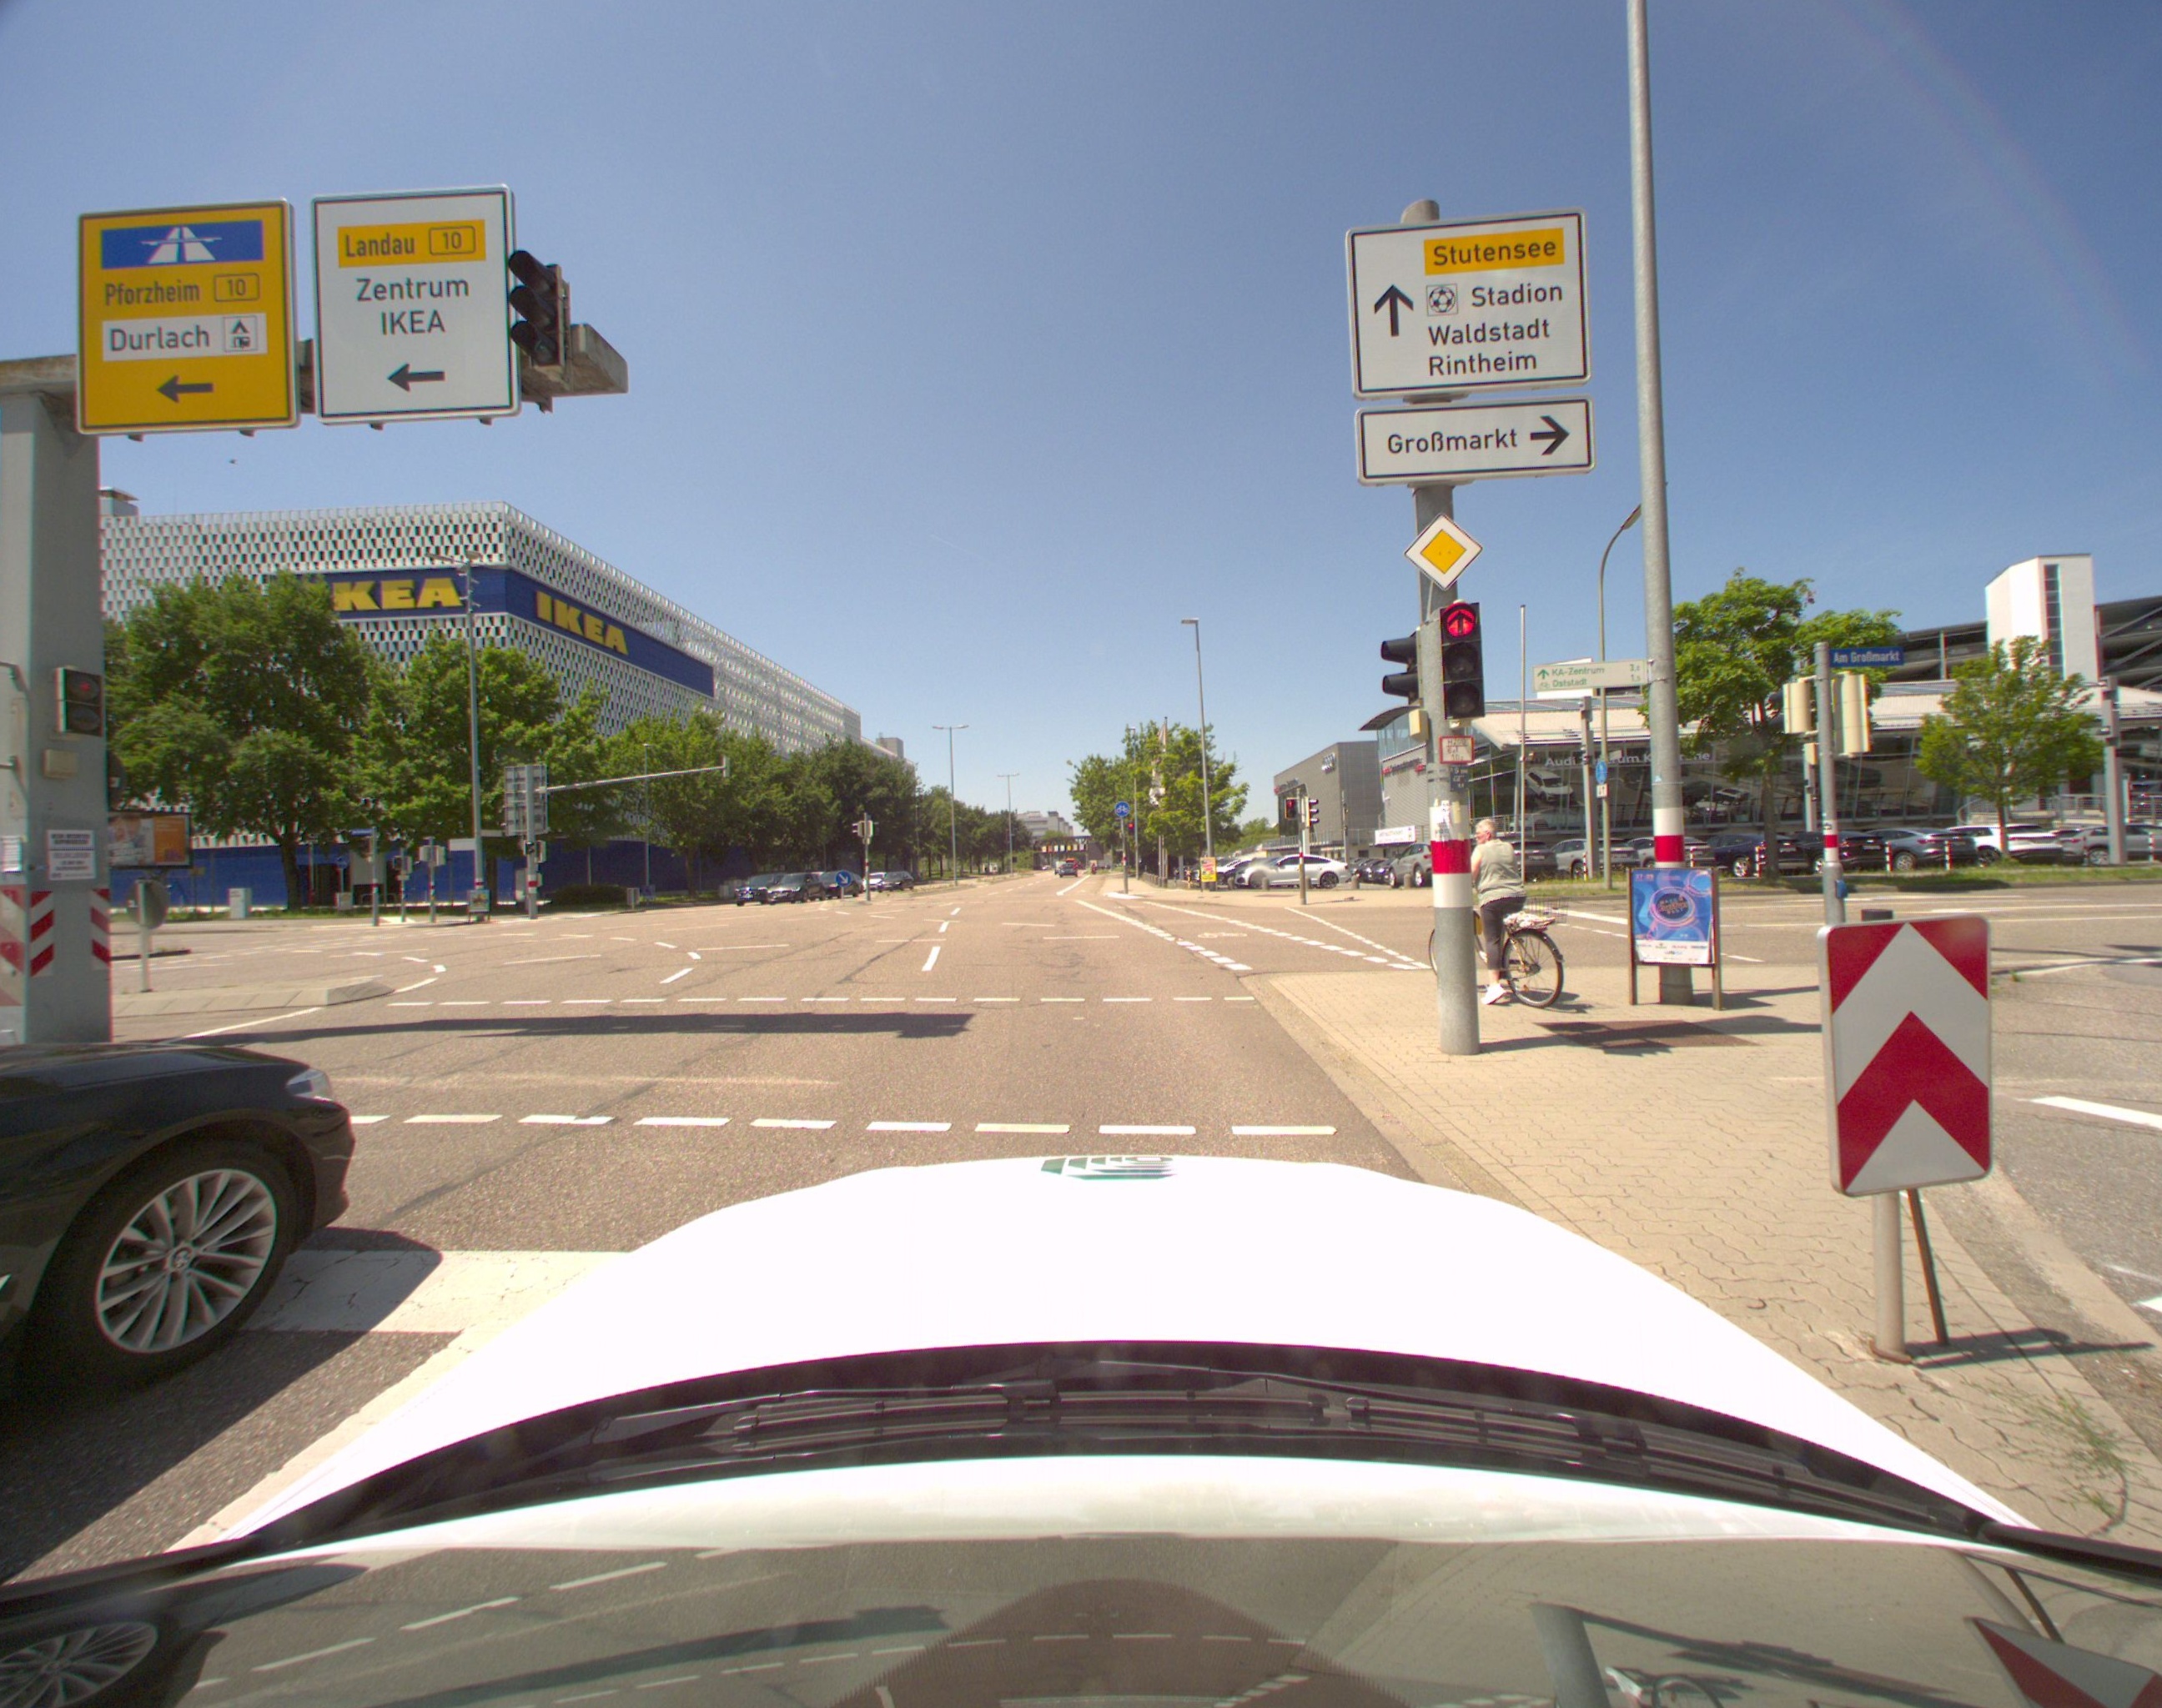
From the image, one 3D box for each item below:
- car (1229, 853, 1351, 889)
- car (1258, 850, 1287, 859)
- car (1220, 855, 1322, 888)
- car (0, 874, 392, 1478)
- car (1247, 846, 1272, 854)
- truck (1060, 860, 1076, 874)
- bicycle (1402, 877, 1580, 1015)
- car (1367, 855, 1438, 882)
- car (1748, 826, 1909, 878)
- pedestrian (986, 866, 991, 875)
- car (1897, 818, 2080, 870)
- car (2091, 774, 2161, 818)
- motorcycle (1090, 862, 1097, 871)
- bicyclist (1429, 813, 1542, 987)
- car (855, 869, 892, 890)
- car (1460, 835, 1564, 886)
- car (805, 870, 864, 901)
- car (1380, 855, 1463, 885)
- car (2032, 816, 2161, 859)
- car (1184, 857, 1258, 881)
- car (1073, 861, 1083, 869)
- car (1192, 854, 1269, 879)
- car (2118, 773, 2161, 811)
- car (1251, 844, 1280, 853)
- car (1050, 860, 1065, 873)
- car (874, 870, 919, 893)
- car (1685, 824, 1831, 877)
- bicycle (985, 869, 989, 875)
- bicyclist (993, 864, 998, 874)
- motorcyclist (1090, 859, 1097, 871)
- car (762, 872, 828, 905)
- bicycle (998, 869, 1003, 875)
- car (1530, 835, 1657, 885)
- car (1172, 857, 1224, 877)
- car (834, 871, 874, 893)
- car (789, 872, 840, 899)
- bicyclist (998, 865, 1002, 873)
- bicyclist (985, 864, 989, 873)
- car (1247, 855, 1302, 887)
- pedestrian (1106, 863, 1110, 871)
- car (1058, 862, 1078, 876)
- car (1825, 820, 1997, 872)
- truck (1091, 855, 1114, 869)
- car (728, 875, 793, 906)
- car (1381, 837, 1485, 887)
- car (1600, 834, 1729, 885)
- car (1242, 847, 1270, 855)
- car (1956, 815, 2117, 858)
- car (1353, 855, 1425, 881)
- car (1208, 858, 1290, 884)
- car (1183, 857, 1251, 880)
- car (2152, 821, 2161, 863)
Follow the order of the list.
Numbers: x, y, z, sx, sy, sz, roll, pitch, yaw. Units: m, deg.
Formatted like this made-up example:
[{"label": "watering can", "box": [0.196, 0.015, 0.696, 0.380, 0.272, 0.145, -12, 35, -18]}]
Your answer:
[{"label": "car", "box": [8.455, 0.688, 33.202, 4.572, 1.390, 1.871, 0, -1, 3]}, {"label": "car", "box": [27.062, 0.079, 115.345, 3.716, 1.130, 1.682, 0, -1, -3]}, {"label": "car", "box": [8.239, 0.748, 35.634, 4.081, 1.390, 1.869, 0, -1, 1]}, {"label": "car", "box": [-3.543, 0.804, 0.793, 1.791, 1.440, 4.557, -2, 0, 1]}, {"label": "car", "box": [27.431, -0.586, 125.209, 3.515, 1.239, 1.675, 0, -1, -3]}, {"label": "truck", "box": [-2.243, 2.266, 142.111, 2.449, 2.410, 7.136, 0, 0, 2]}, {"label": "bicycle", "box": [3.944, 0.824, 8.027, 0.627, 1.133, 1.890, -1, 0, -7]}, {"label": "car", "box": [19.277, 0.840, 48.920, 3.634, 1.580, 1.643, 0, -1, 1]}, {"label": "car", "box": [25.773, -0.036, 28.294, 1.840, 1.654, 3.994, 0, -1, -2]}, {"label": "pedestrian", "box": [-18.431, 3.277, 162.235, 0.741, 1.884, 0.578, -2, -1, 2]}, {"label": "car", "box": [31.194, -0.287, 28.200, 1.840, 1.654, 3.994, 0, -1, -2]}, {"label": "car", "box": [45.691, -2.478, 33.924, 4.552, 1.707, 1.916, -2, -1, 4]}, {"label": "motorcycle", "box": [1.644, 1.644, 106.074, 0.716, 1.105, 1.825, -1, -1, -8]}, {"label": "bicyclist", "box": [3.937, 0.427, 7.982, 0.627, 1.606, 0.823, 0, -1, -7]}, {"label": "car", "box": [-16.562, 2.029, 65.137, 1.737, 1.486, 4.001, -3, -1, 2]}, {"label": "car", "box": [15.040, 0.239, 28.672, 1.836, 1.654, 4.003, 0, -1, 5]}, {"label": "car", "box": [-13.696, 1.720, 45.514, 1.720, 1.505, 4.245, -4, -1, 2]}, {"label": "car", "box": [18.962, 0.878, 45.425, 3.970, 1.622, 1.657, 0, -1, 1]}, {"label": "car", "box": [39.636, -0.648, 30.677, 4.531, 1.471, 1.925, -3, -1, 26]}, {"label": "car", "box": [8.438, 0.892, 49.244, 4.210, 1.390, 1.869, 0, -1, 1]}, {"label": "car", "box": [-0.780, 2.902, 217.777, 1.984, 2.013, 4.005, -3, -1, 5]}, {"label": "car", "box": [8.484, 0.710, 46.422, 4.084, 1.349, 1.869, 0, -1, 1]}, {"label": "car", "box": [53.909, -3.129, 39.452, 1.905, 1.722, 4.142, -2, 0, -5]}, {"label": "car", "box": [27.348, -0.864, 120.588, 3.930, 1.211, 1.715, -1, -1, -3]}, {"label": "car", "box": [-3.610, 1.910, 124.723, 1.986, 2.014, 4.000, -2, -1, 1]}, {"label": "car", "box": [-13.183, 1.912, 58.412, 1.718, 1.446, 4.725, -4, -1, 4]}, {"label": "car", "box": [23.062, -0.077, 27.947, 1.624, 1.654, 3.907, -1, -1, -2]}, {"label": "bicycle", "box": [-17.051, 3.294, 147.874, 0.636, 1.134, 1.969, -2, -1, -2]}, {"label": "bicyclist", "box": [-15.907, 2.791, 150.769, 0.742, 1.686, 0.952, -2, -1, 0]}, {"label": "motorcyclist", "box": [1.634, 1.422, 106.136, 0.719, 1.529, 0.868, 0, -1, -8]}, {"label": "car", "box": [-13.746, 1.643, 39.341, 1.637, 1.389, 3.717, -4, -1, 2]}, {"label": "bicycle", "box": [-16.093, 3.527, 162.516, 0.627, 1.159, 2.118, -4, -1, 1]}, {"label": "car", "box": [17.927, 0.218, 28.726, 1.840, 1.654, 3.994, 0, -1, -2]}, {"label": "car", "box": [8.625, 0.991, 60.288, 3.668, 1.453, 1.834, 0, -1, 1]}, {"label": "car", "box": [-16.499, 2.003, 59.249, 1.643, 1.486, 3.916, -3, -1, 2]}, {"label": "car", "box": [-16.676, 1.938, 51.185, 1.720, 1.544, 3.916, -3, -1, 2]}, {"label": "bicyclist", "box": [-16.131, 3.025, 162.450, 0.631, 1.629, 1.045, -4, -1, 1]}, {"label": "bicyclist", "box": [-17.083, 2.673, 147.885, 0.635, 1.582, 0.884, -2, -1, -2]}, {"label": "car", "box": [9.363, 0.807, 39.744, 1.855, 1.420, 4.667, 0, -1, 4]}, {"label": "pedestrian", "box": [4.668, 2.192, 140.309, 0.621, 1.374, 0.564, -2, -1, 0]}, {"label": "car", "box": [-1.354, 1.571, 84.390, 1.894, 1.376, 4.232, -2, -1, 1]}, {"label": "car", "box": [28.531, -0.229, 28.199, 1.840, 1.654, 3.994, 0, -1, -2]}, {"label": "truck", "box": [4.482, 1.690, 170.129, 2.591, 2.850, 5.648, -1, -1, 27]}, {"label": "car", "box": [-16.819, 1.877, 42.931, 1.654, 1.424, 4.039, -3, -1, 2]}, {"label": "car", "box": [12.374, 0.334, 28.934, 1.860, 1.558, 4.506, -3, -2, 3]}, {"label": "car", "box": [20.178, 0.142, 28.362, 1.632, 1.616, 3.815, -1, 1, -2]}, {"label": "car", "box": [27.716, -0.476, 128.873, 3.977, 1.312, 1.795, 0, -1, -3]}, {"label": "car", "box": [39.844, -0.708, 34.108, 3.947, 1.571, 1.862, -3, -1, 31]}, {"label": "car", "box": [19.280, 0.860, 51.097, 3.967, 1.573, 1.634, 0, -1, 1]}, {"label": "car", "box": [8.943, 0.908, 43.619, 4.081, 1.364, 1.875, 0, -1, 1]}, {"label": "car", "box": [8.650, 0.918, 52.131, 4.085, 1.405, 1.869, 0, -1, 1]}, {"label": "car", "box": [39.483, -0.520, 26.914, 4.558, 1.471, 1.861, -3, 0, 26]}]
